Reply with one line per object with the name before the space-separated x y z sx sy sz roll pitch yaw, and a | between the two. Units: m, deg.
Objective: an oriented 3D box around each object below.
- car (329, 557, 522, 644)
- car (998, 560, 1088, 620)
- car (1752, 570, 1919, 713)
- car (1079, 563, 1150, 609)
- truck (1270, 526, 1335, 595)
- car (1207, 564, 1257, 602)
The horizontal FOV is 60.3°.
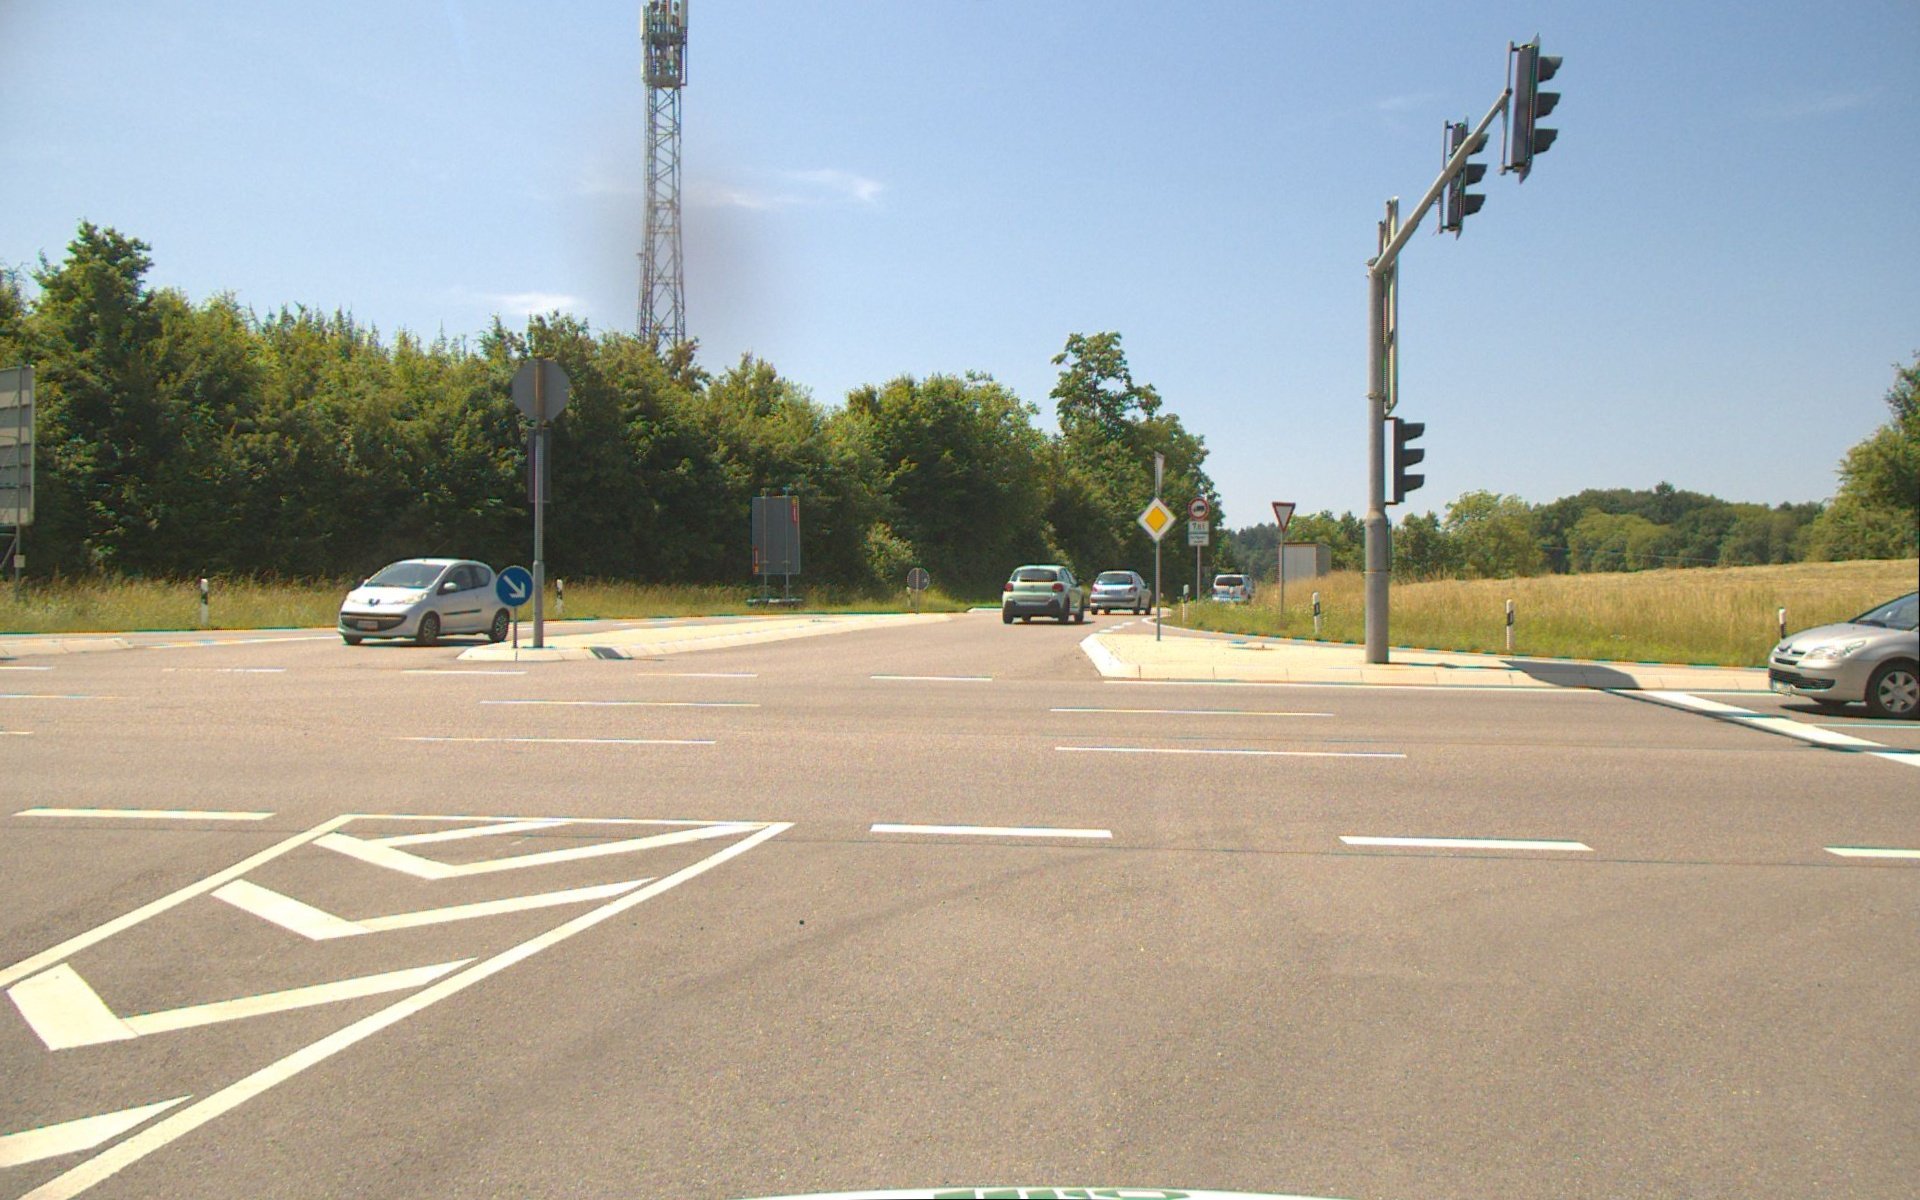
car | -9.274 -0.040 28.956 1.532 1.394 3.534 1 2 15
car | 2.234 -0.293 43.506 1.692 1.428 3.991 2 2 12
car | 11.501 0.463 18.872 4.069 1.495 1.731 1 3 4
car | 5.187 -0.502 55.160 1.774 1.437 3.787 1 2 14
truck | 23.167 -2.560 111.148 3.059 4.245 16.699 1 1 16
car | 12.826 -0.822 77.852 1.774 1.653 4.063 0 2 17
